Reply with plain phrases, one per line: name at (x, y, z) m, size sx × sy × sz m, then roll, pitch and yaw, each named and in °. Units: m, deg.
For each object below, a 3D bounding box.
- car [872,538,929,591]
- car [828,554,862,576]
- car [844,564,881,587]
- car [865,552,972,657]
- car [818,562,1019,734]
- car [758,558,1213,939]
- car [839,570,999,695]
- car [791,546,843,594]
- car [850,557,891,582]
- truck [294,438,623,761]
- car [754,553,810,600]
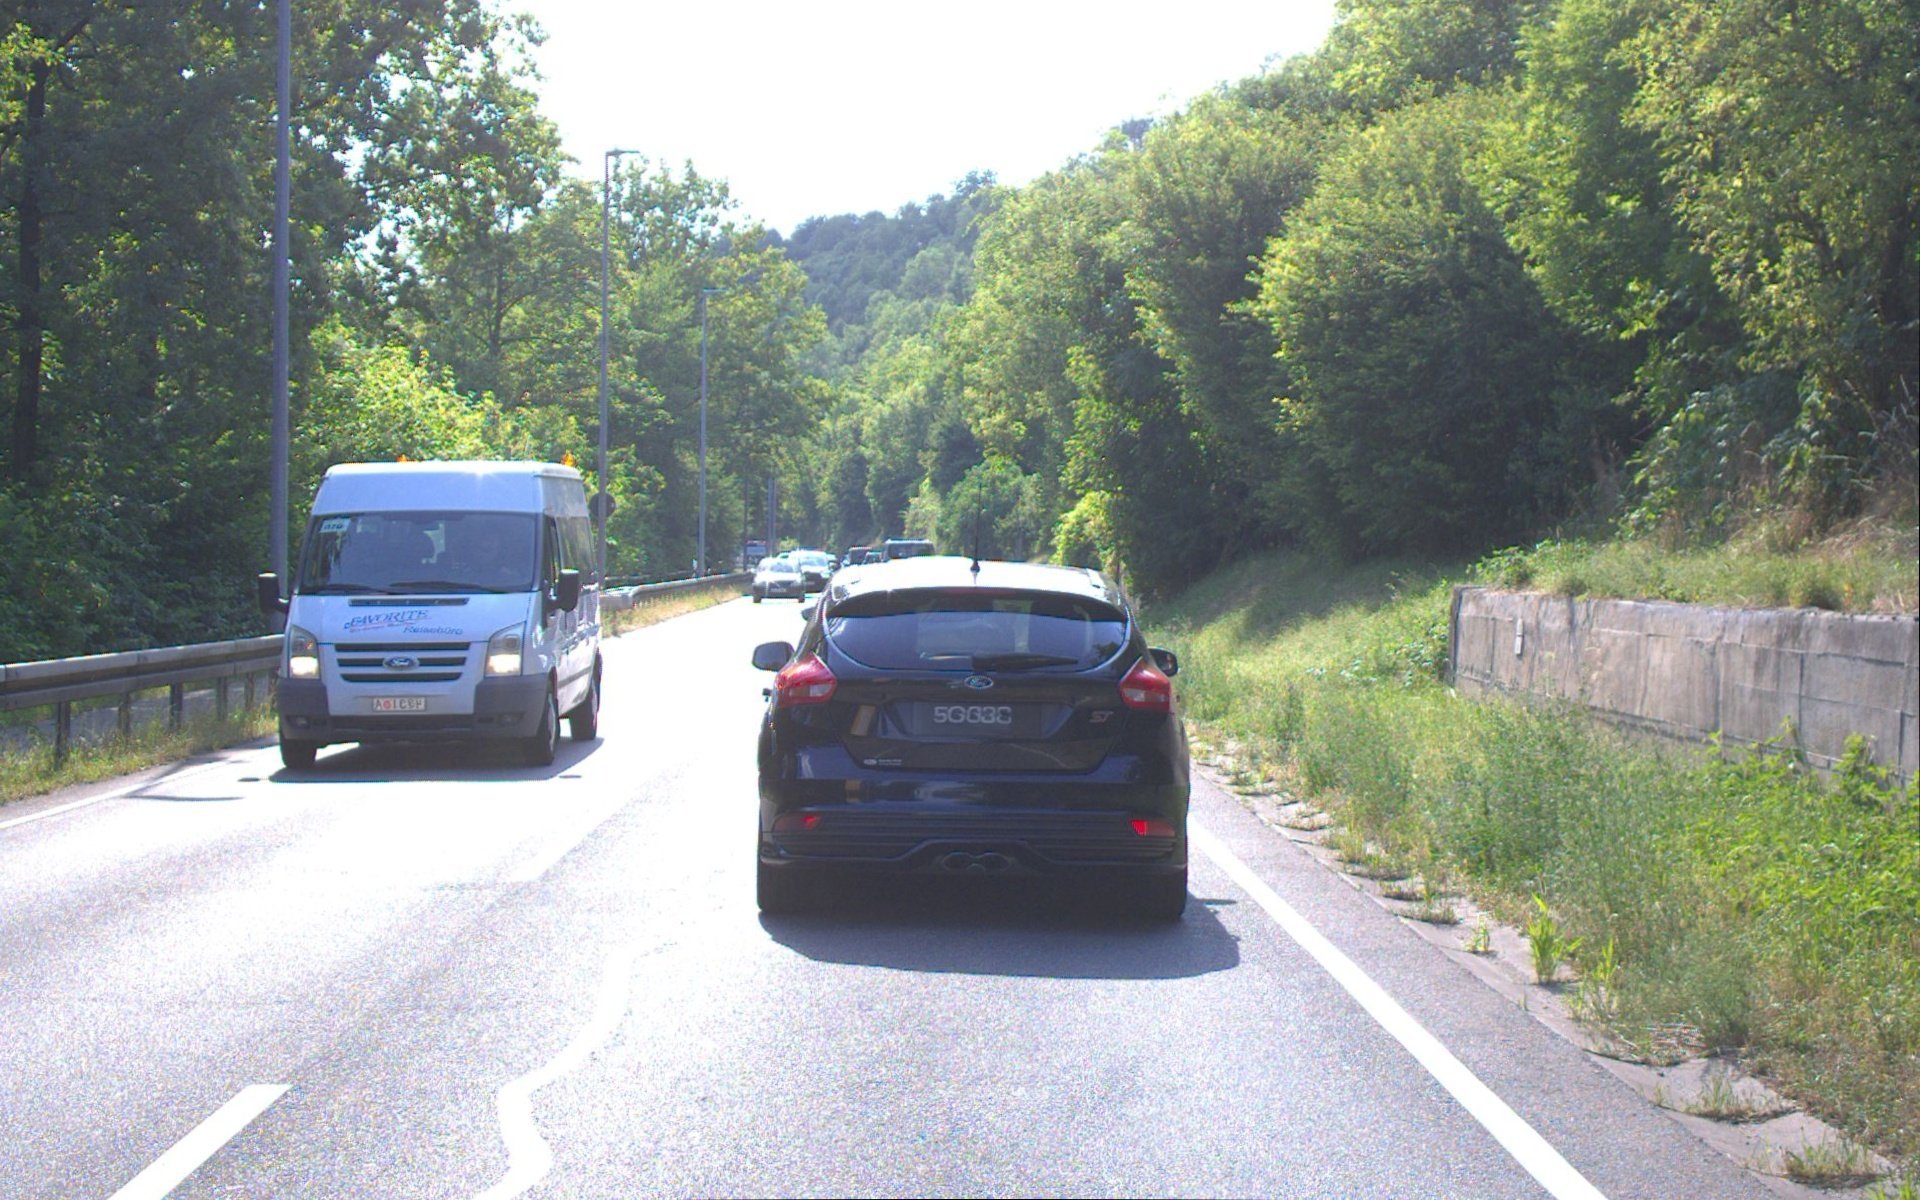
car at (-2.012, -1.231, 117.511) m, size 1.863 × 1.774 × 4.000 m, roll 0°, pitch 1°, yaw 0°
car at (-8.116, -2.464, 241.944) m, size 1.993 × 1.514 × 4.001 m, roll 0°, pitch 1°, yaw -8°
car at (-6.498, -1.636, 228.871) m, size 1.993 × 1.514 × 4.001 m, roll 0°, pitch 1°, yaw -8°
car at (-0.659, 0.042, 54.446) m, size 1.631 × 1.590 × 4.000 m, roll 0°, pitch 1°, yaw -1°
car at (-0.315, 0.372, 30.457) m, size 1.661 × 1.413 × 4.000 m, roll 0°, pitch 1°, yaw 1°
car at (0.075, 0.557, 15.298) m, size 1.739 × 1.451 × 4.000 m, roll 1°, pitch 0°, yaw -1°
car at (-0.490, 0.351, 40.842) m, size 1.804 × 1.387 × 4.000 m, roll 0°, pitch 1°, yaw -1°
car at (-5.240, -1.122, 126.153) m, size 1.748 × 1.712 × 4.221 m, roll 0°, pitch 1°, yaw 0°
car at (-5.415, -1.840, 207.510) m, size 1.993 × 1.514 × 4.001 m, roll 0°, pitch 1°, yaw -8°
truck at (-4.001, -0.047, 28.414) m, size 2.057 × 2.377 × 5.874 m, roll 0°, pitch 1°, yaw -2°
car at (-5.739, -0.773, 111.086) m, size 1.681 × 1.437 × 4.000 m, roll 0°, pitch 1°, yaw -1°
